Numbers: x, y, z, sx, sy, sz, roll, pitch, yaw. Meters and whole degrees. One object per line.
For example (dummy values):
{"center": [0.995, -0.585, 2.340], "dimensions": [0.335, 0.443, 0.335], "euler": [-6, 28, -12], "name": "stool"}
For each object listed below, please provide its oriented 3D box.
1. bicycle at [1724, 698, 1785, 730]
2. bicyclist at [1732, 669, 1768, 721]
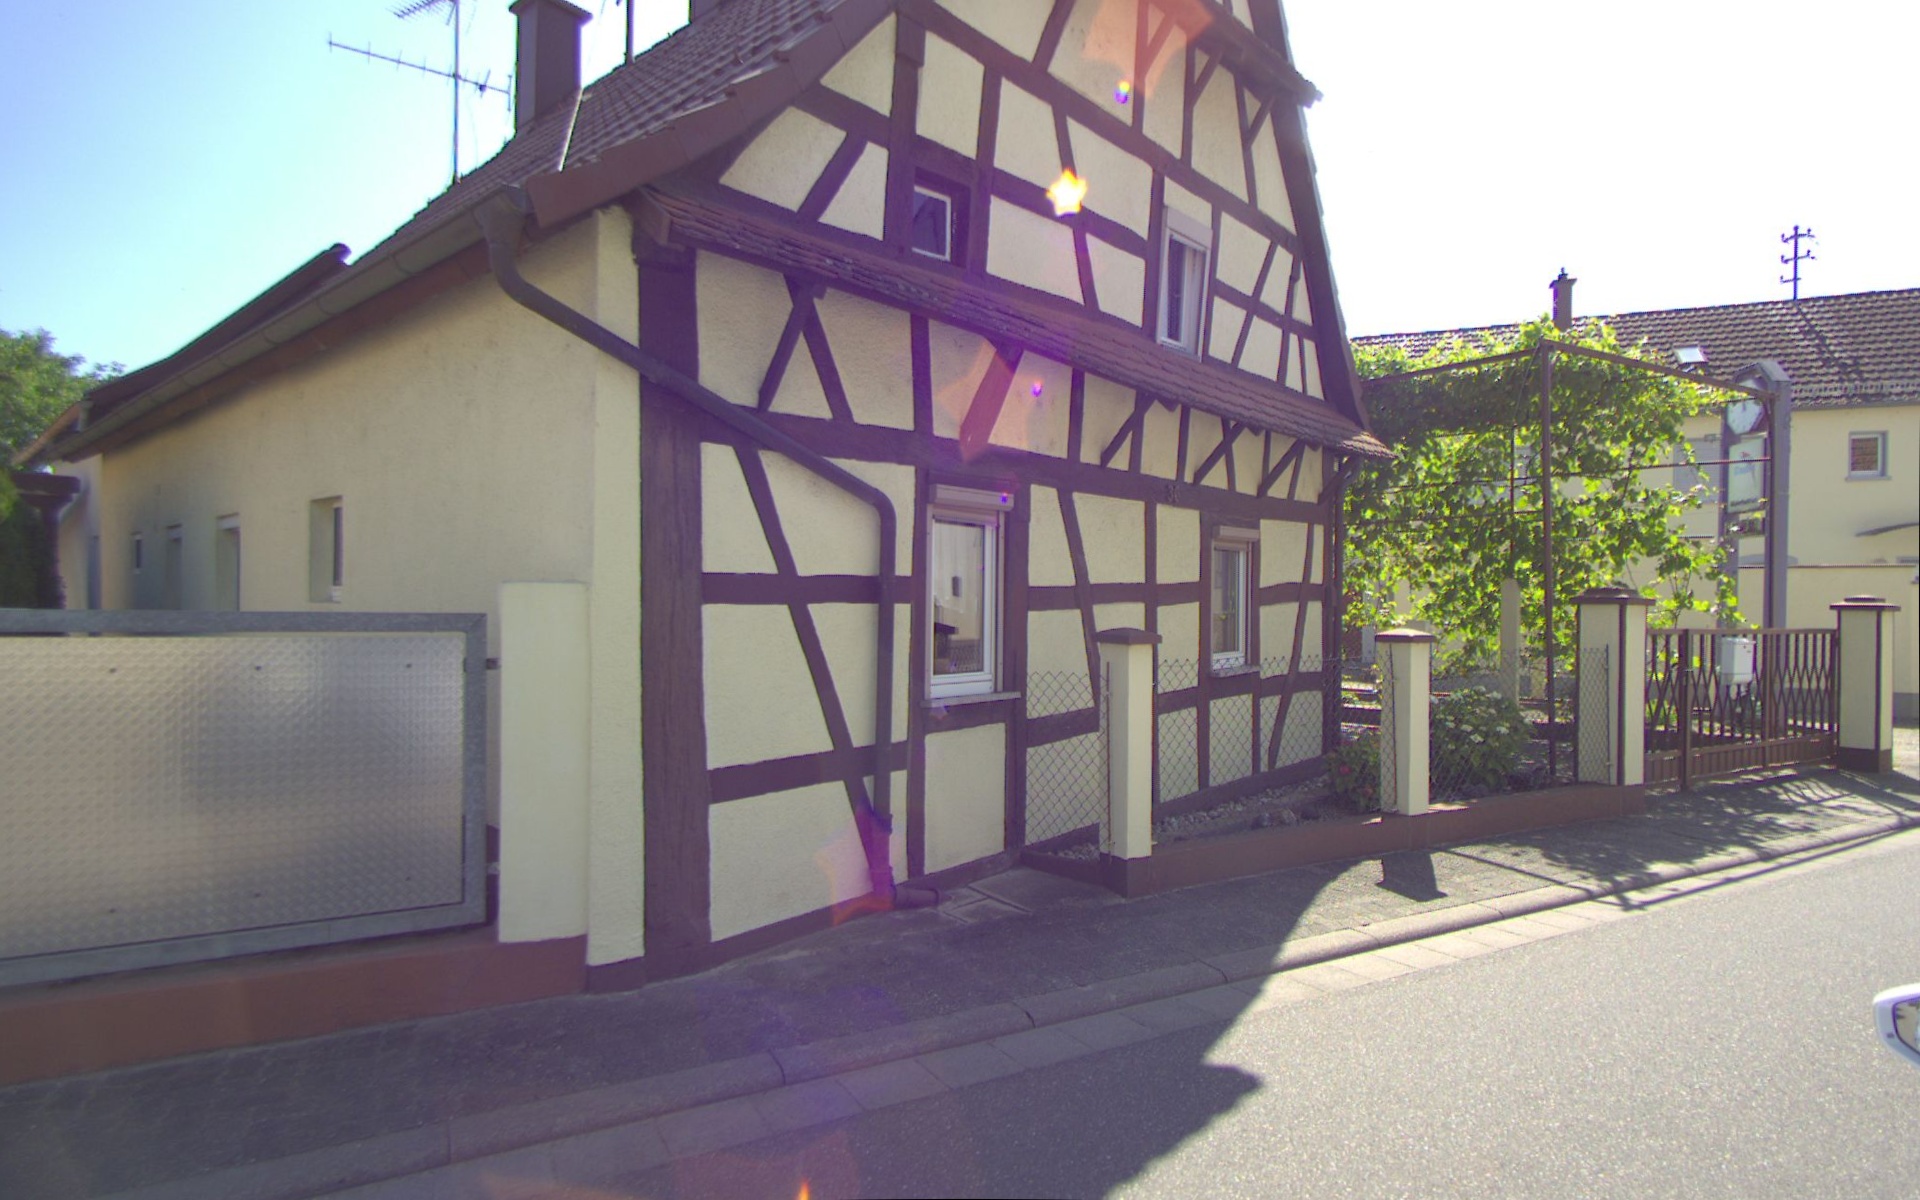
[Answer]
{"center": [9.227, 1.321, 11.676], "dimensions": [0.216, 0.309, 0.534], "euler": [1, -1, -13], "name": "bicycle"}
{"center": [9.221, 1.108, 11.727], "dimensions": [0.215, 0.590, 0.246], "euler": [1, 0, -14], "name": "bicyclist"}
